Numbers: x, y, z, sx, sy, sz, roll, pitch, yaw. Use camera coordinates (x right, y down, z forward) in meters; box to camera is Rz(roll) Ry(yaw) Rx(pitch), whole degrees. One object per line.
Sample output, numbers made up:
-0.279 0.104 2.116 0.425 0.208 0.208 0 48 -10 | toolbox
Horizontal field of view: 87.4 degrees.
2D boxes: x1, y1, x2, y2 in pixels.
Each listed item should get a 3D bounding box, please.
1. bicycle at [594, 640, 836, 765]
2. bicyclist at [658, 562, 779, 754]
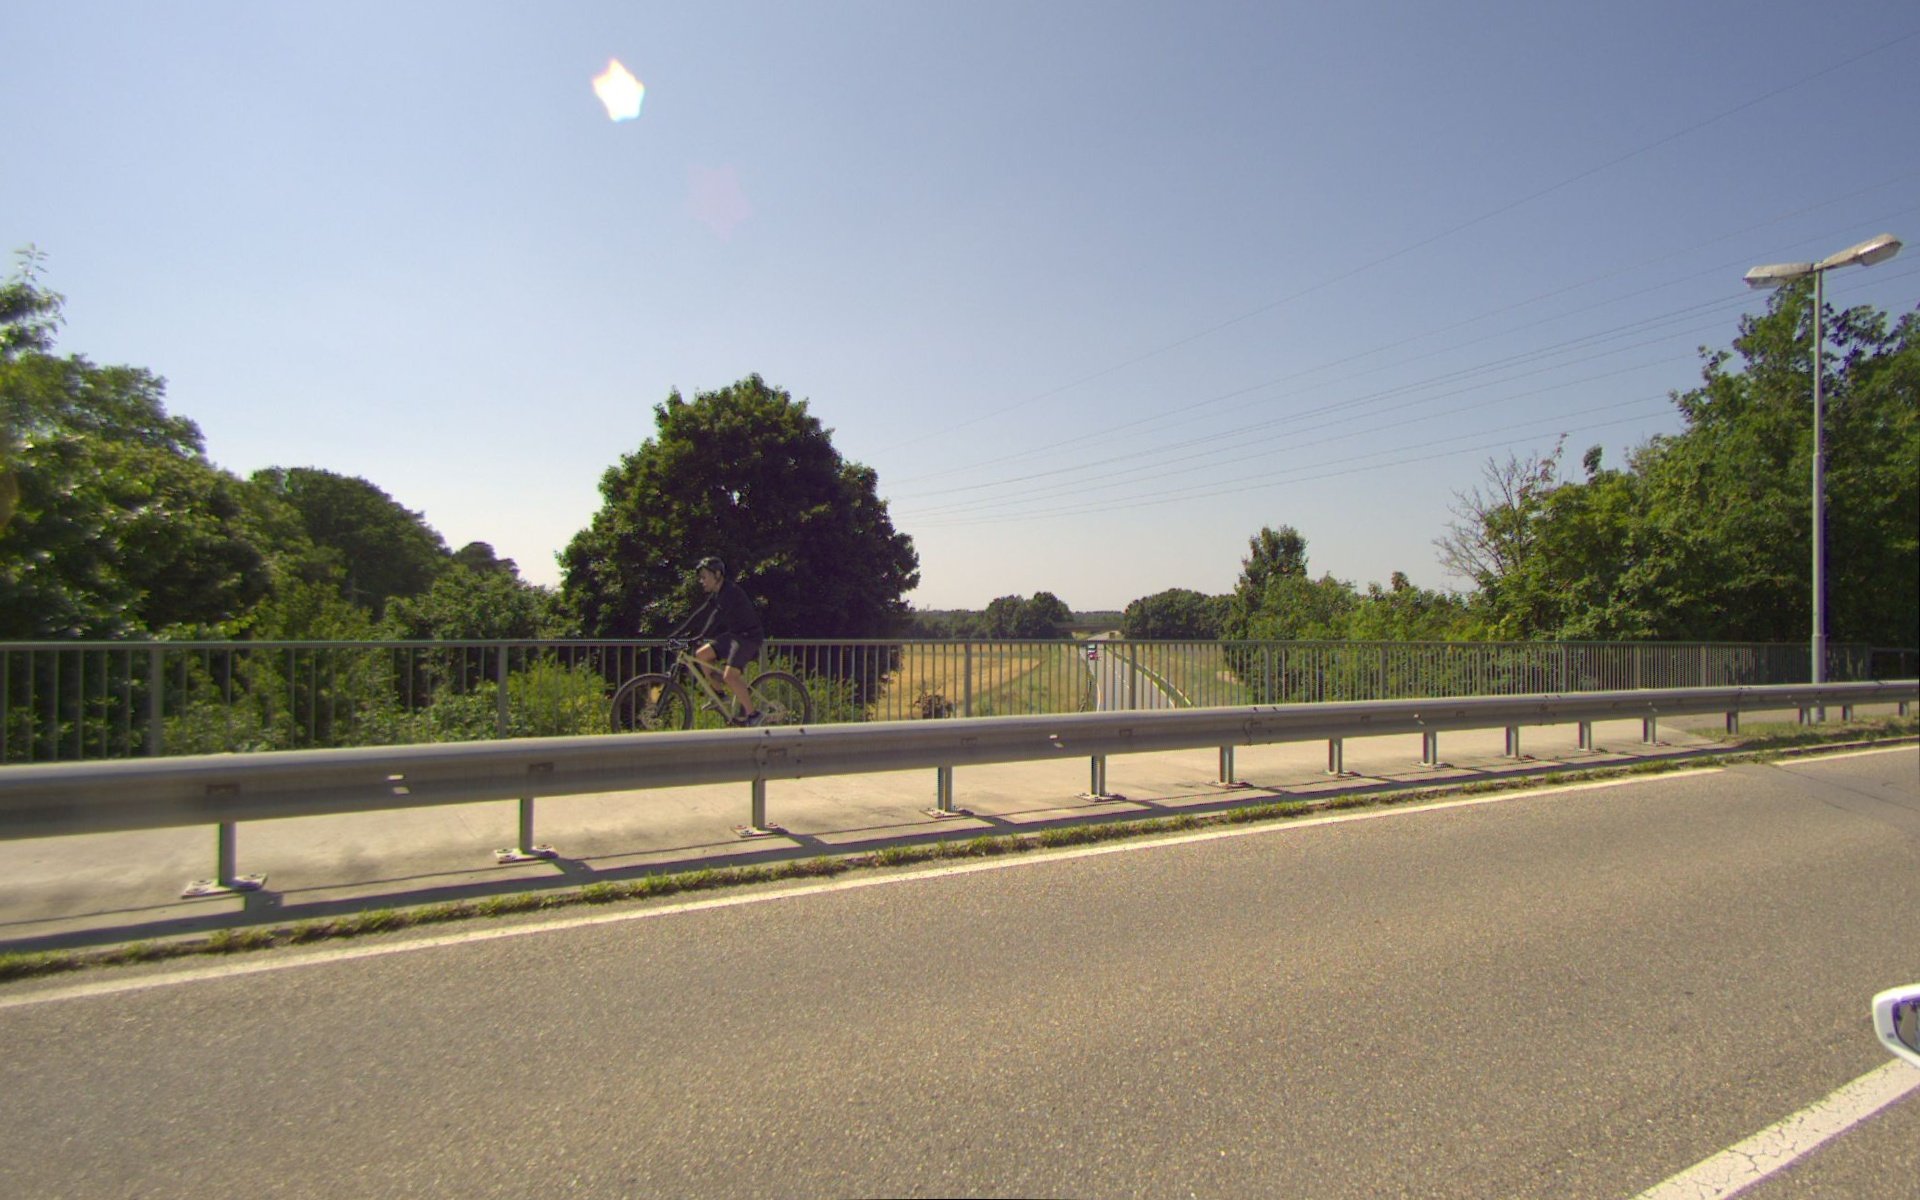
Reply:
-2.243 0.902 9.353 2.096 1.015 0.673 0 -1 -33 | bicycle
-2.233 0.508 9.269 0.885 1.655 0.761 0 0 -33 | bicyclist
